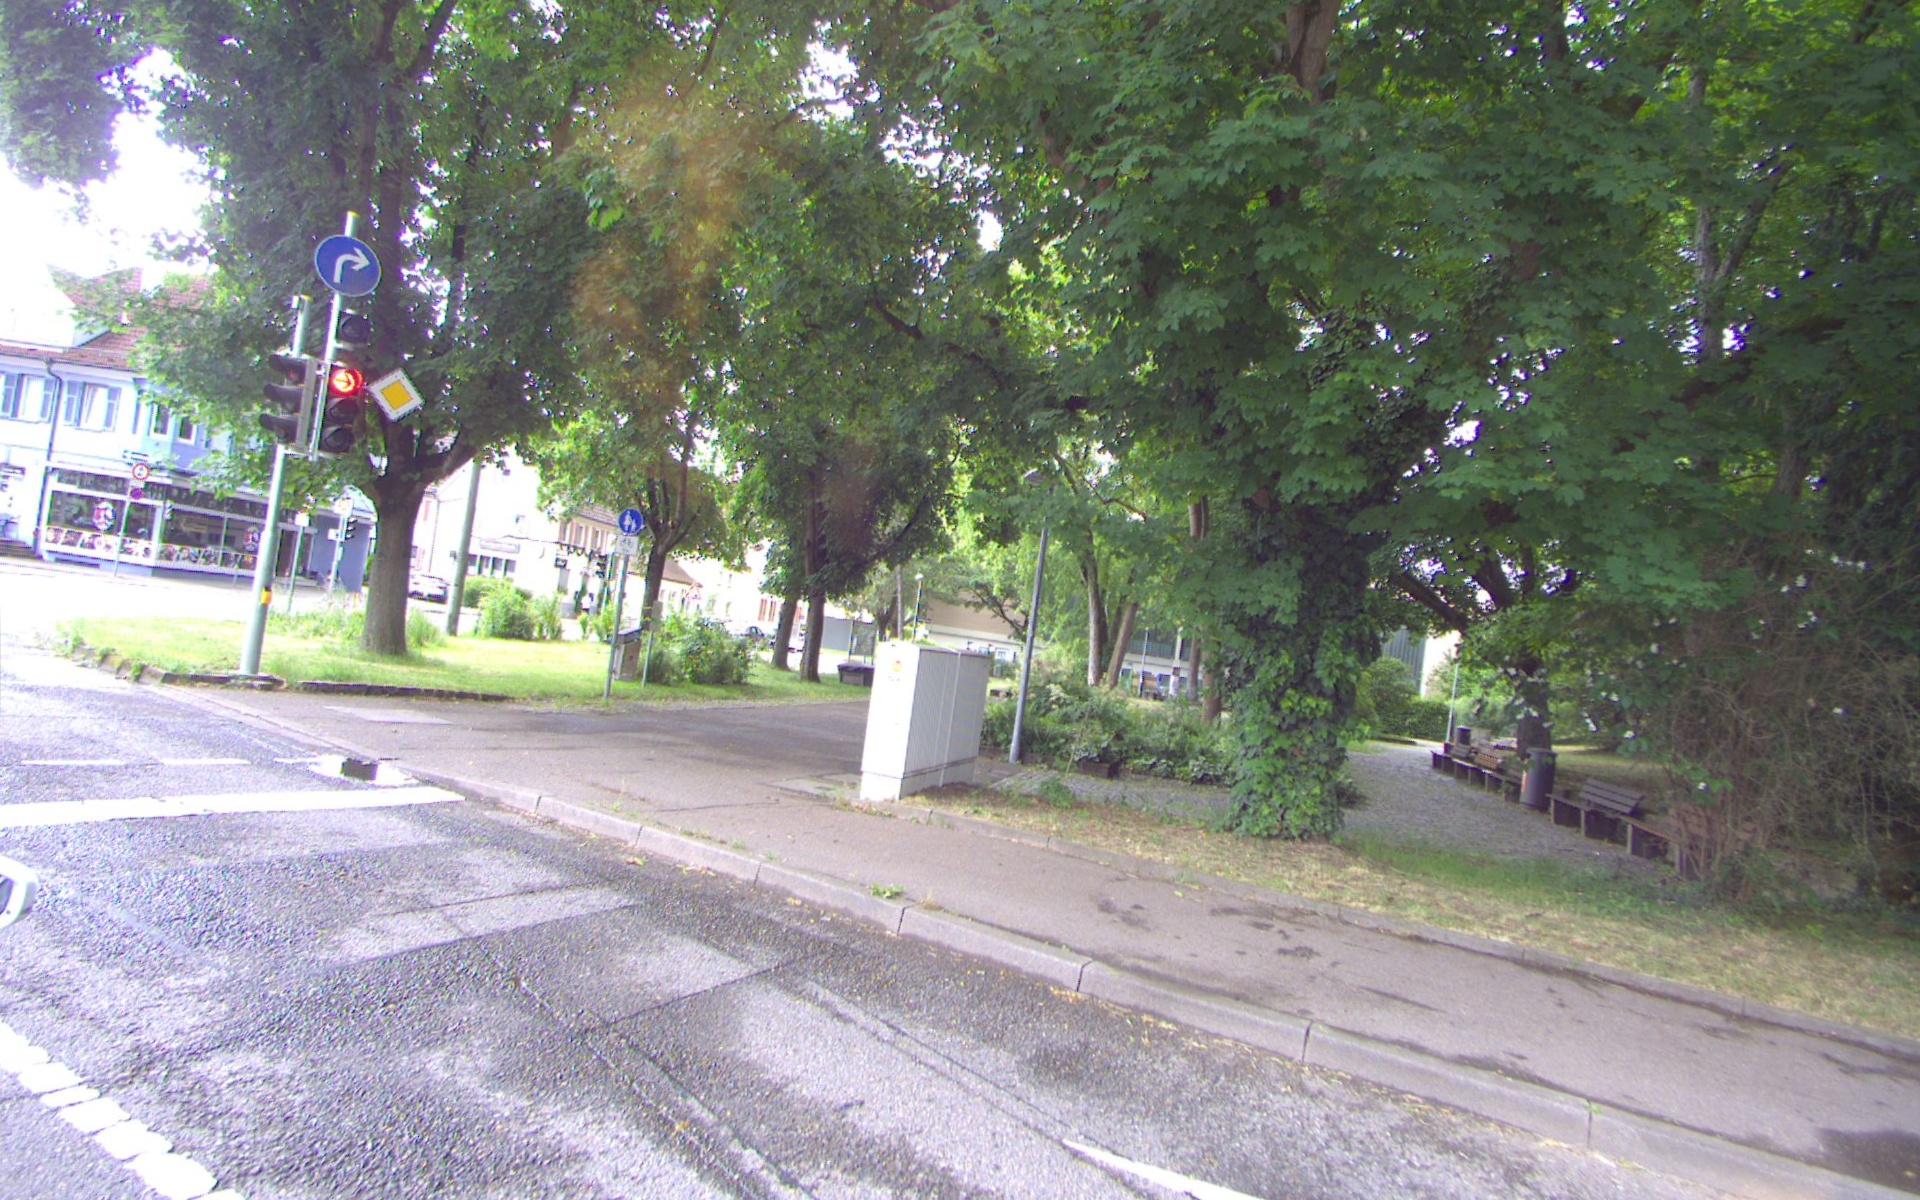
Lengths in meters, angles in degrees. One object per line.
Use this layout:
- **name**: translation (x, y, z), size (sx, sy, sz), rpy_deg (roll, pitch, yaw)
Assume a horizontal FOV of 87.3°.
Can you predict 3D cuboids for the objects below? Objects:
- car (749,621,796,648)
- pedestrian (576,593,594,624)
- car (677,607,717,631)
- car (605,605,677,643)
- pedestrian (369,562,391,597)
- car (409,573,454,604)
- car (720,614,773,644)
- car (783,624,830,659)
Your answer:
- **car**: translation (-11.168, 2.067, 60.111), size (1.530, 1.336, 3.514), rpy_deg (7, -2, 8)
- **pedestrian**: translation (-21.622, 0.501, 58.045), size (0.600, 1.668, 0.610), rpy_deg (7, -1, 3)
- **car**: translation (-19.371, 1.439, 74.254), size (1.528, 1.436, 4.005), rpy_deg (7, -2, 4)
- **car**: translation (-14.010, 1.087, 44.362), size (1.530, 1.336, 3.514), rpy_deg (7, -2, 9)
- **pedestrian**: translation (-27.127, -0.940, 47.028), size (0.576, 1.535, 0.460), rpy_deg (7, -1, 17)
- **car**: translation (-27.871, -0.606, 53.150), size (1.479, 1.384, 3.166), rpy_deg (8, -2, -19)
- **car**: translation (-11.569, 1.594, 54.827), size (1.530, 1.336, 3.514), rpy_deg (7, -2, 9)
- **car**: translation (-10.057, 2.755, 66.180), size (1.750, 2.037, 4.005), rpy_deg (7, -2, 7)
